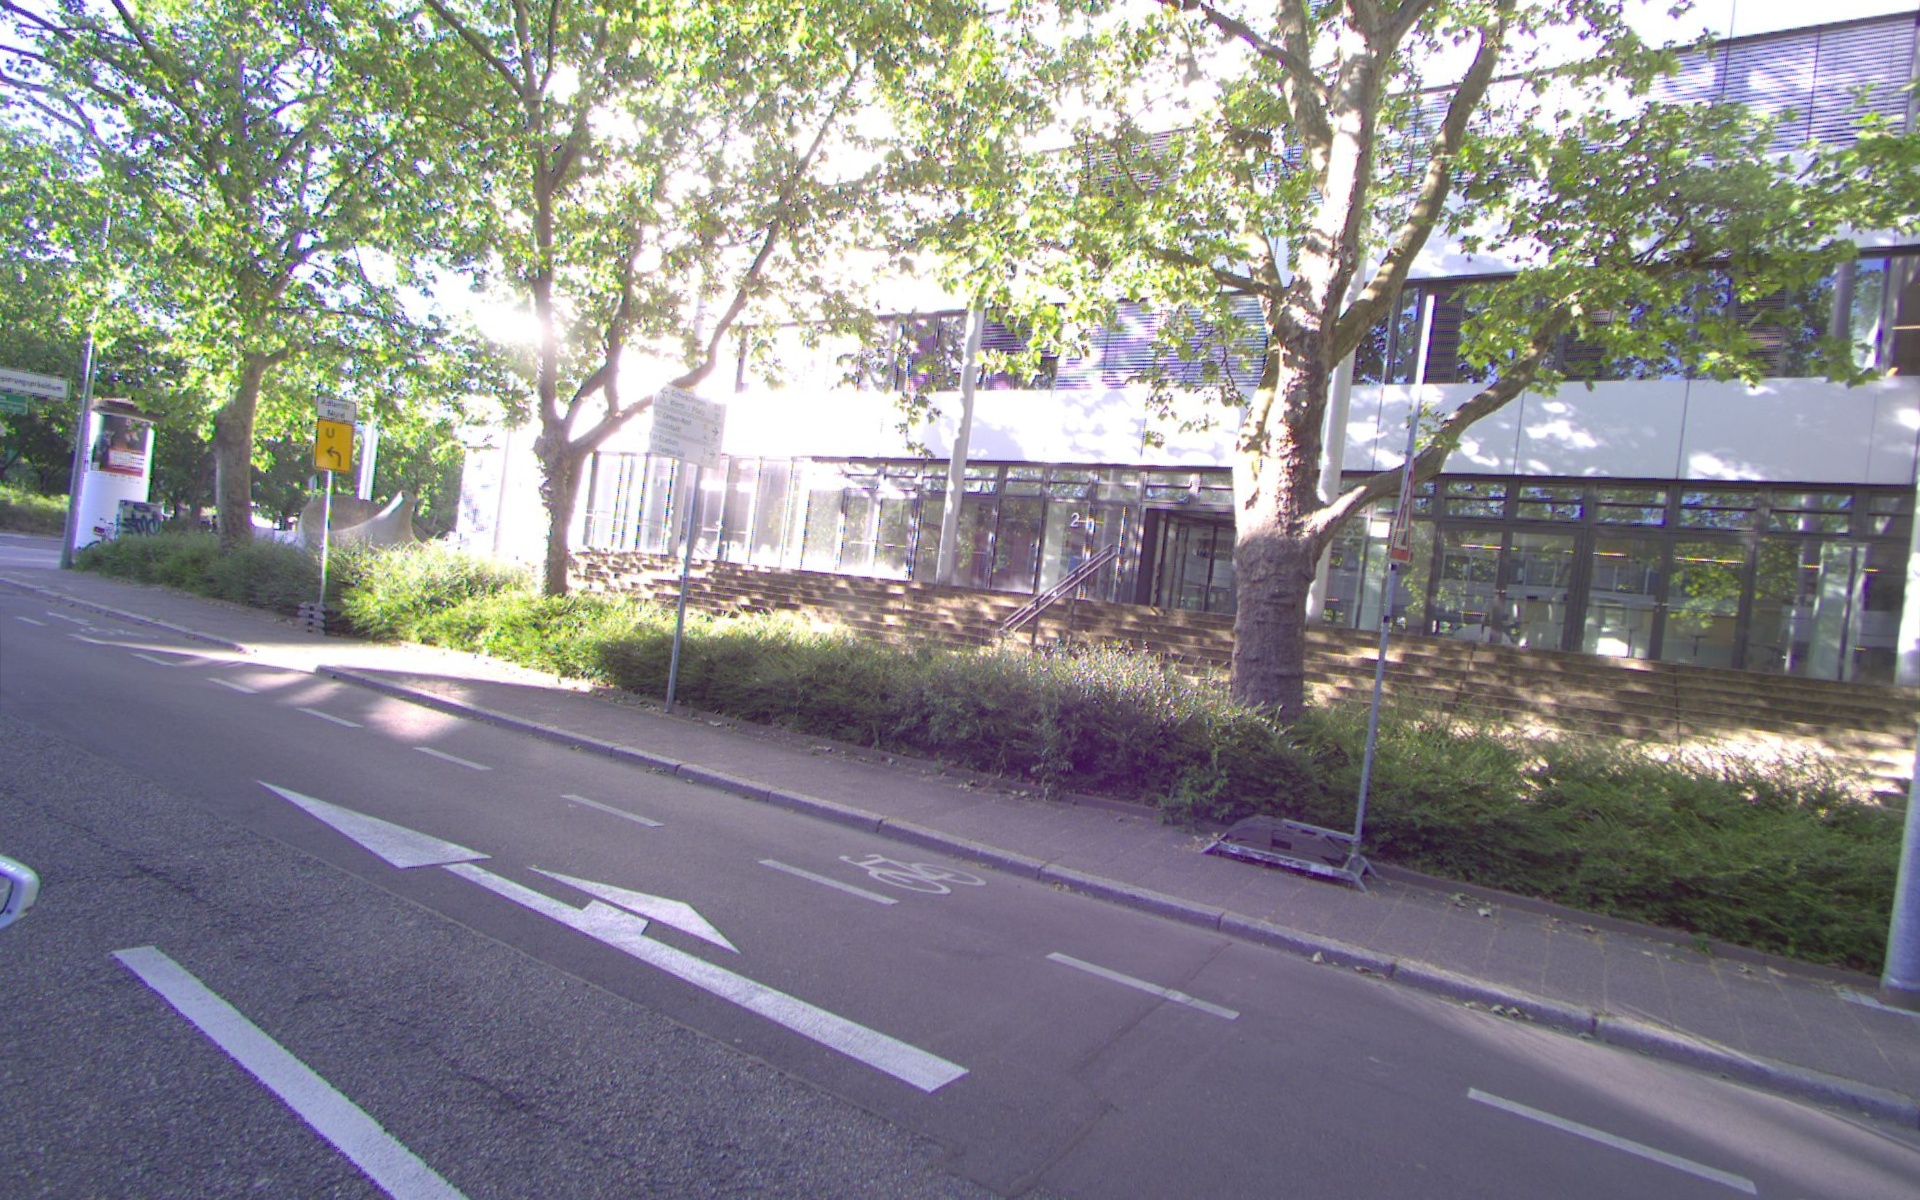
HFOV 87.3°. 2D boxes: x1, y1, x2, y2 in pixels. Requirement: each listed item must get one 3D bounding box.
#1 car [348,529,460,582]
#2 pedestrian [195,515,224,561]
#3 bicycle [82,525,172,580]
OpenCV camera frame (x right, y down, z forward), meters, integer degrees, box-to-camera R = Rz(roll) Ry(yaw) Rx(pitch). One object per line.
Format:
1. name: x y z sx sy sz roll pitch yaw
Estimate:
1. car: -25.934 -2.056 47.041 1.969 1.805 3.998 7 -1 37
2. pedestrian: -31.286 -2.583 41.952 0.620 1.805 0.620 7 0 34
3. bicycle: -19.098 -1.088 23.099 0.529 1.049 1.418 7 -1 28
